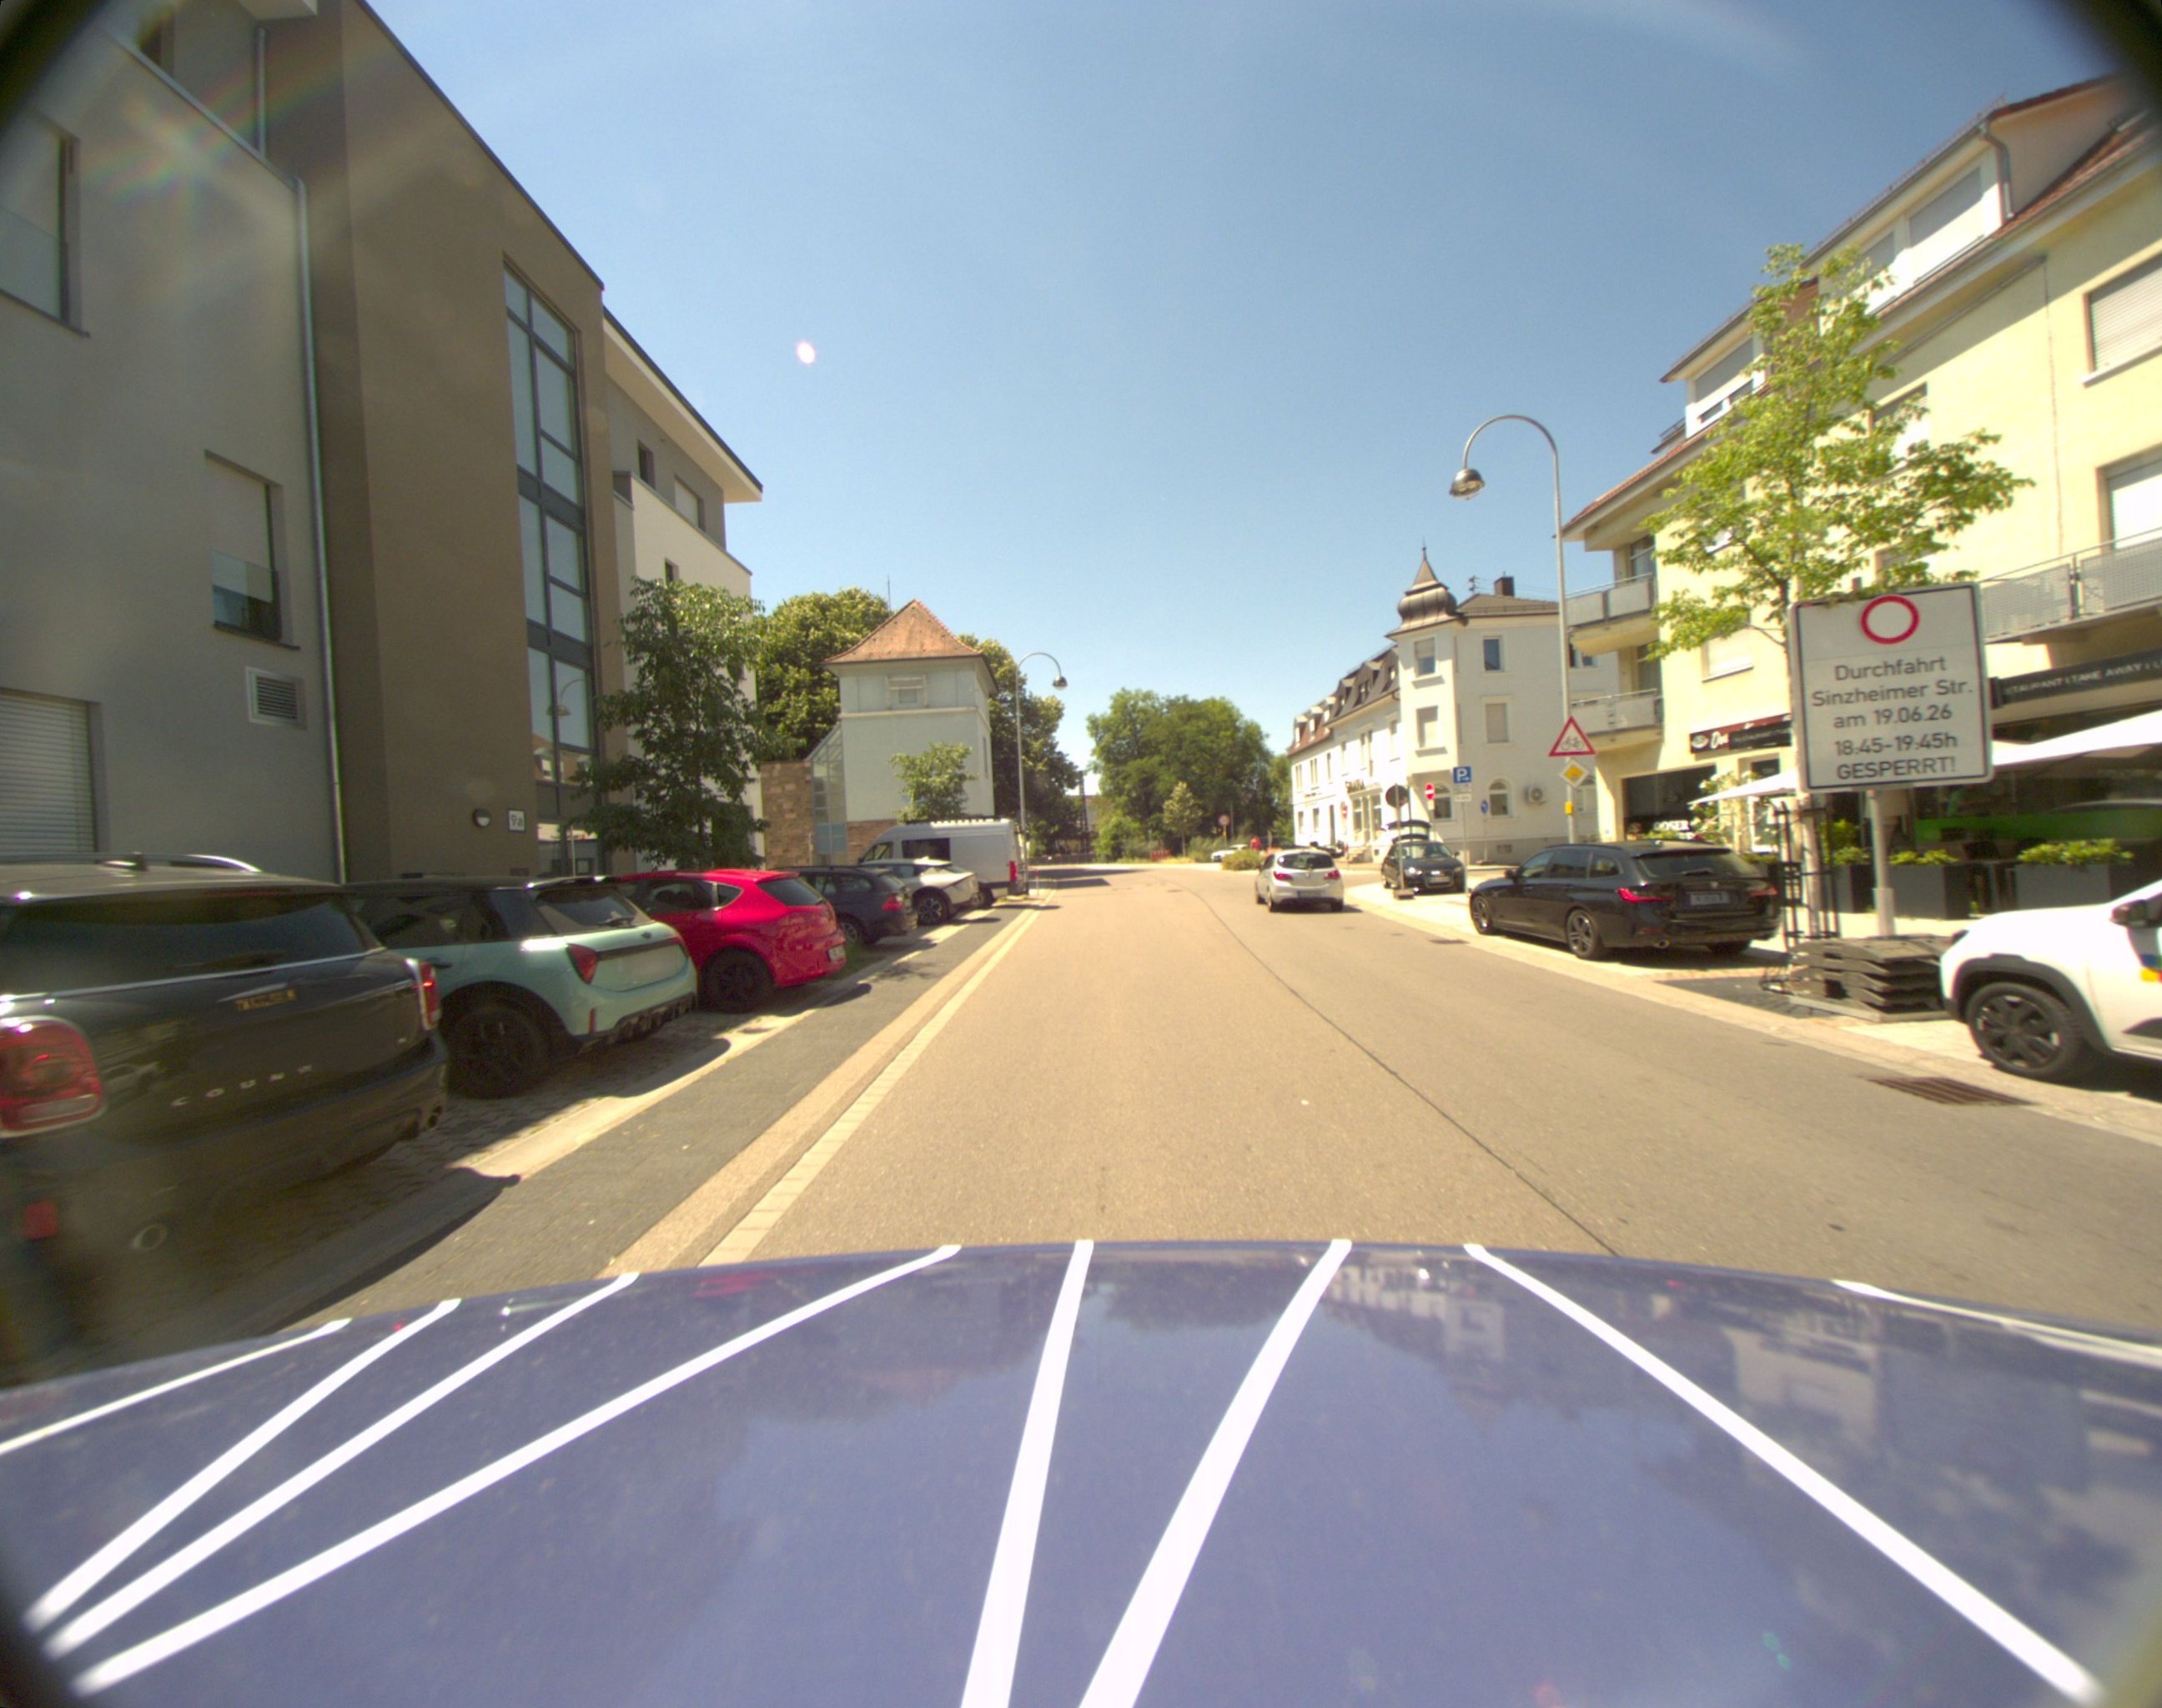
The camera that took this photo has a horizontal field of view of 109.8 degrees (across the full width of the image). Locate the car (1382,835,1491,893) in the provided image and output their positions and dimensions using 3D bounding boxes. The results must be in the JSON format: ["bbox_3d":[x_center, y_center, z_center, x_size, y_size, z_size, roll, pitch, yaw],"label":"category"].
[{"bbox_3d":[9.896,0.235,21.455,1.900,1.433,3.778,-2,0,11],"label":"car"}]

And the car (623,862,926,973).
[{"bbox_3d":[-4.969,0.997,12.781,4.359,1.542,1.651,-2,0,-3],"label":"car"}]

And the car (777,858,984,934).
[{"bbox_3d":[-4.636,0.953,18.014,4.381,1.520,1.719,-2,0,0],"label":"car"}]

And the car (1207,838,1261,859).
[{"bbox_3d":[12.023,-0.453,59.709,3.946,1.527,1.831,-2,0,-34],"label":"car"}]

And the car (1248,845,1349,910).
[{"bbox_3d":[5.405,0.526,19.377,1.684,1.475,4.087,0,0,5],"label":"car"}]

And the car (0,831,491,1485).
[{"bbox_3d":[-4.887,0.896,2.839,3.818,1.776,1.840,-2,0,-1],"label":"car"}]

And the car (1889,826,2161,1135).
[{"bbox_3d":[6.215,0.632,3.232,1.684,1.475,3.769,-4,0,6],"label":"car"}]

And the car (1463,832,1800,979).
[{"bbox_3d":[7.013,0.545,10.358,1.684,1.475,4.341,-4,0,6],"label":"car"}]

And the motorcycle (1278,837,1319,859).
[{"bbox_3d":[13.486,-0.373,47.128,2.322,1.317,0.726,-2,1,3],"label":"motorcycle"}]

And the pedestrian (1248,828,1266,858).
[{"bbox_3d":[10.684,-0.649,46.037,0.758,1.755,0.802,-2,1,-10],"label":"pedestrian"}]

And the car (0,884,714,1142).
[{"bbox_3d":[-4.915,1.026,5.574,3.617,1.454,1.616,-1,0,-1],"label":"car"}]

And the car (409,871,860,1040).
[{"bbox_3d":[-4.573,1.002,8.215,3.818,1.454,1.652,-2,0,-1],"label":"car"}]

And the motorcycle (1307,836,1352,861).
[{"bbox_3d":[14.400,-0.311,44.016,2.322,1.317,0.726,-2,1,3],"label":"motorcycle"}]

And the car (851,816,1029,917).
[{"bbox_3d":[-4.118,0.360,22.816,4.867,2.720,1.851,-2,1,1],"label":"car"}]

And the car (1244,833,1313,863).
[{"bbox_3d":[12.857,-0.386,49.645,4.078,1.729,1.815,-2,0,5],"label":"car"}]
